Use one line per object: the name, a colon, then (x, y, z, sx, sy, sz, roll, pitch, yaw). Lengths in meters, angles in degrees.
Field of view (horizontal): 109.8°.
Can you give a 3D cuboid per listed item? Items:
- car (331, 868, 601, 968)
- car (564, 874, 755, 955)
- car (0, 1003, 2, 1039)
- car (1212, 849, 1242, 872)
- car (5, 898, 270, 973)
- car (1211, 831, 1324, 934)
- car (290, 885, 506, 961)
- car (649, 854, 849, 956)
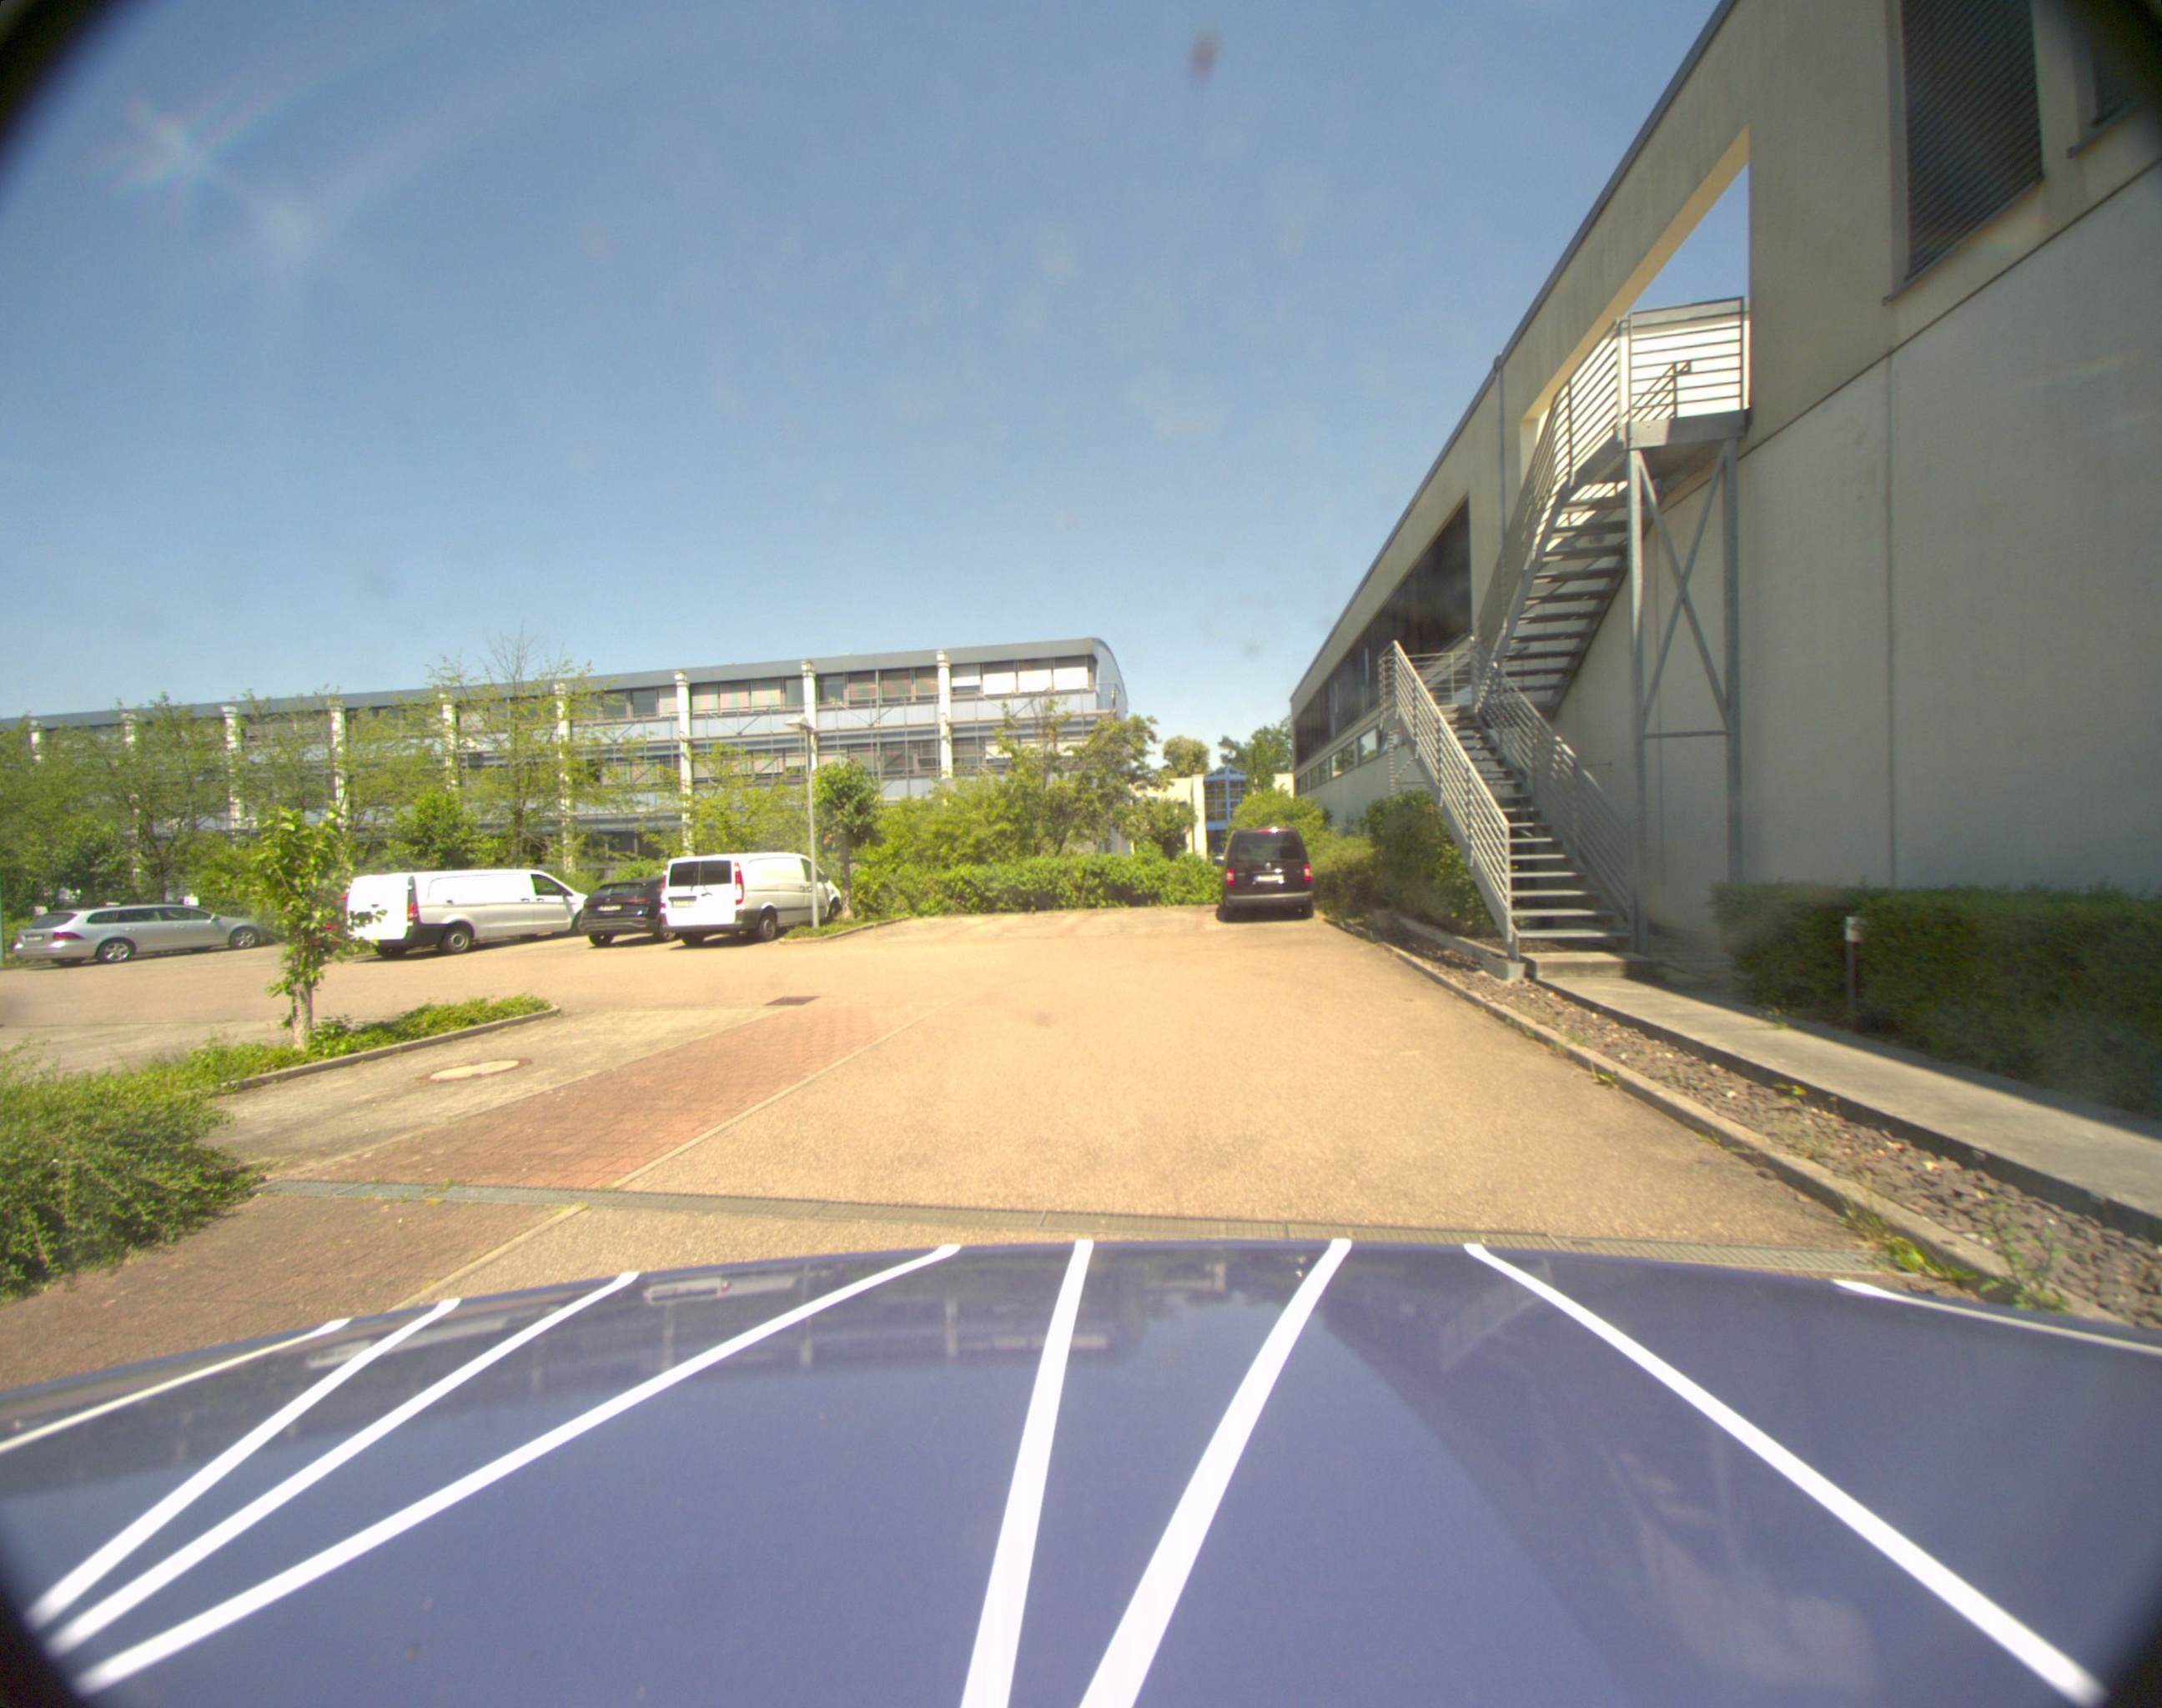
car: (-14.440, 1.395, 18.352, 1.854, 1.845, 4.938, -3, 1, 11)
car: (-9.876, 1.344, 18.238, 1.737, 1.475, 4.200, -3, 1, 8)
car: (-15.940, 1.819, 8.260, 1.854, 1.511, 4.430, -3, 0, 8)
car: (11.225, 0.473, 58.483, 1.835, 1.558, 4.000, -3, 2, 6)
car: (-25.248, 2.119, 20.600, 1.737, 1.475, 4.088, -3, 1, 11)
car: (3.849, 0.504, 16.332, 1.866, 1.849, 4.231, -3, 1, 8)
car: (-17.540, 1.719, 19.806, 1.622, 1.479, 3.923, -3, 1, 11)
car: (-7.273, 1.012, 17.314, 1.866, 1.849, 4.679, -3, 1, 8)
